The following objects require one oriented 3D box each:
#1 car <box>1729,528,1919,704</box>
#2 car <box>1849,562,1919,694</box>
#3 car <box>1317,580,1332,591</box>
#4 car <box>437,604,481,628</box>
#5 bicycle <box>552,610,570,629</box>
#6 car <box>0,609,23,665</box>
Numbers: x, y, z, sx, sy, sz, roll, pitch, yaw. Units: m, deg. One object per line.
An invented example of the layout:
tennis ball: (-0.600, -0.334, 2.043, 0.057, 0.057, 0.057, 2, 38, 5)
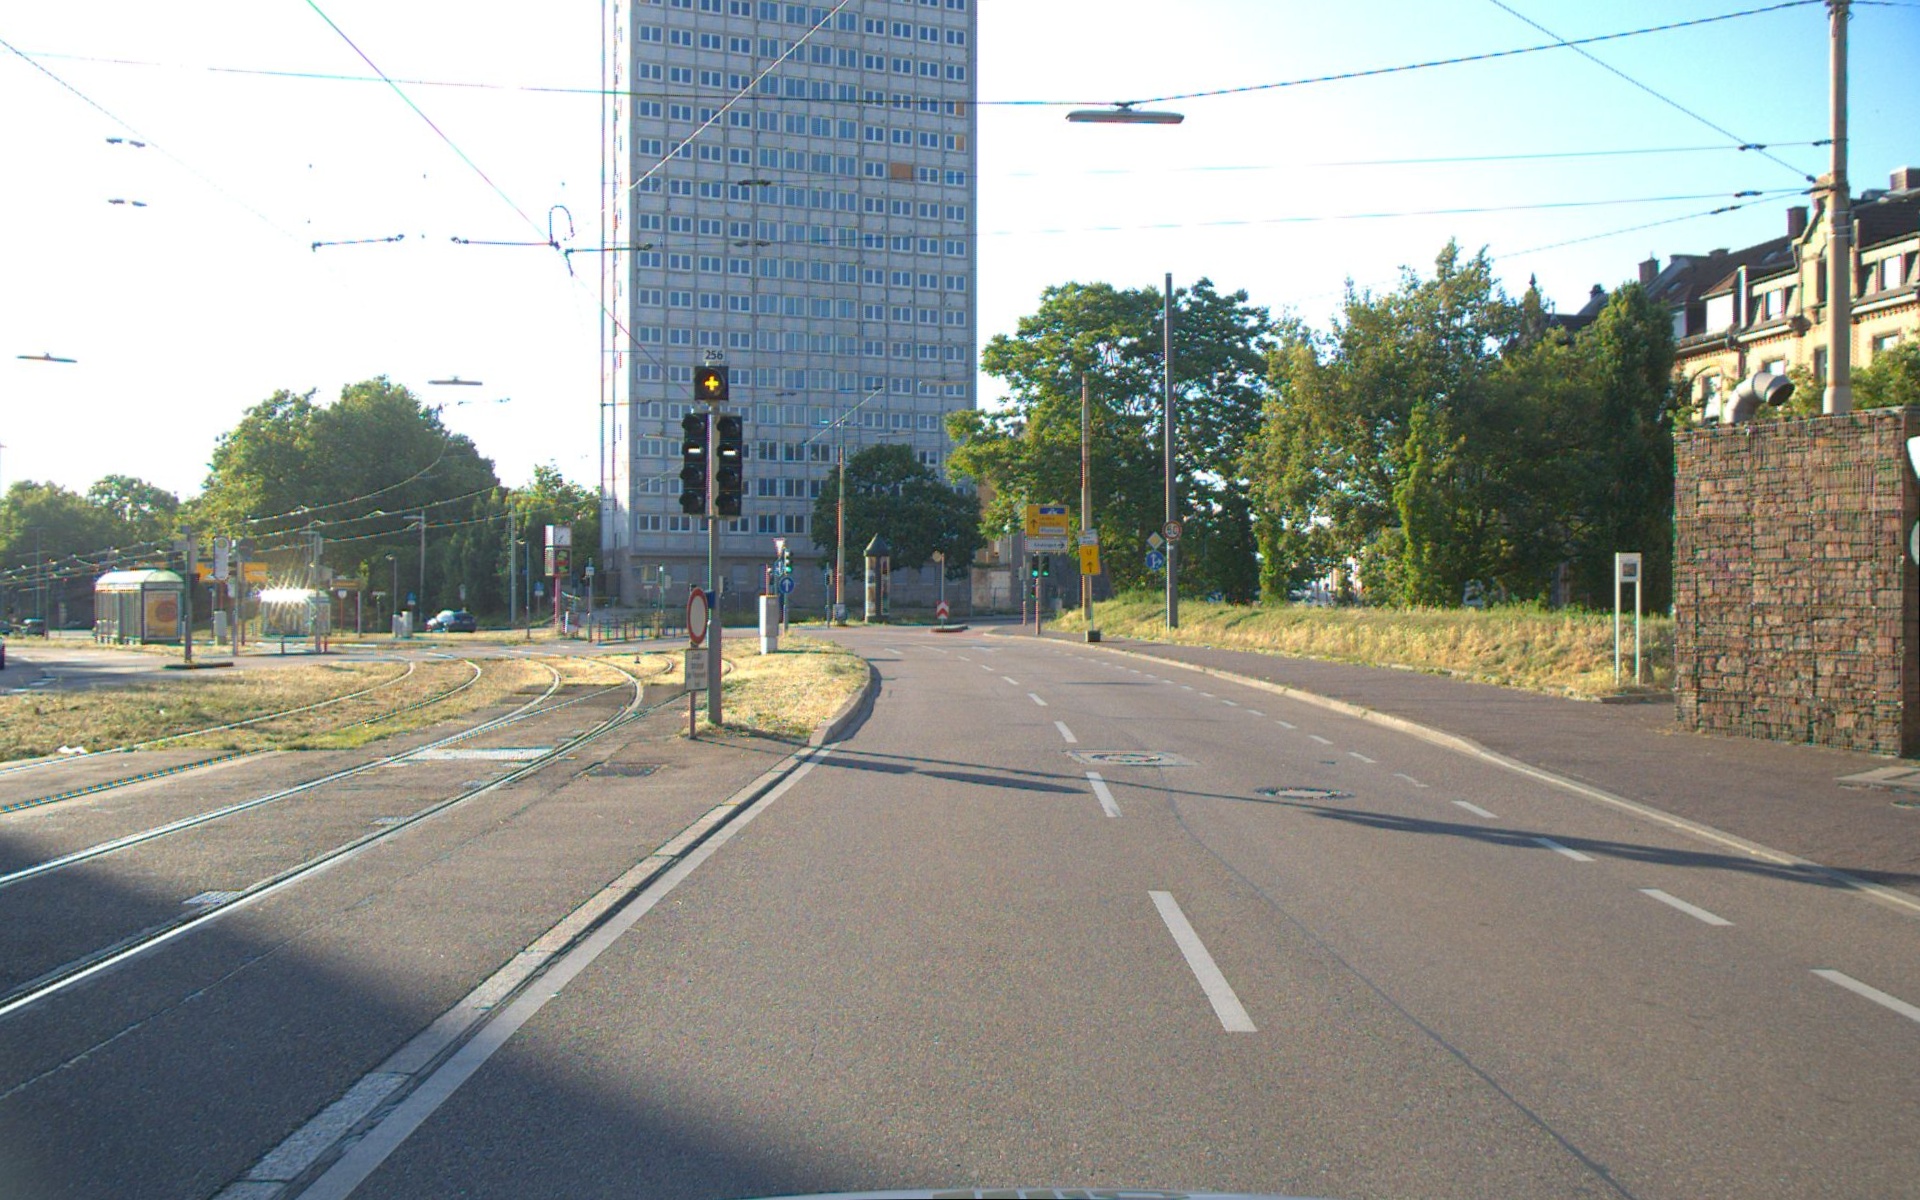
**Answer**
car: (15.576, 0.241, 25.973, 2.021, 2.713, 6.133, 0, 0, -37)
car: (18.175, 0.467, 27.820, 2.021, 2.252, 5.344, 0, 0, -37)
car: (50.189, -1.983, 227.779, 1.819, 1.570, 4.003, -1, 0, 16)
car: (-31.883, 1.020, 105.168, 1.755, 1.447, 3.813, -1, 0, -32)
bicycle: (-19.848, 0.966, 82.267, 0.542, 0.934, 1.741, -2, 0, -4)
car: (-27.351, 1.061, 46.005, 1.753, 1.507, 4.366, -3, 0, -24)
